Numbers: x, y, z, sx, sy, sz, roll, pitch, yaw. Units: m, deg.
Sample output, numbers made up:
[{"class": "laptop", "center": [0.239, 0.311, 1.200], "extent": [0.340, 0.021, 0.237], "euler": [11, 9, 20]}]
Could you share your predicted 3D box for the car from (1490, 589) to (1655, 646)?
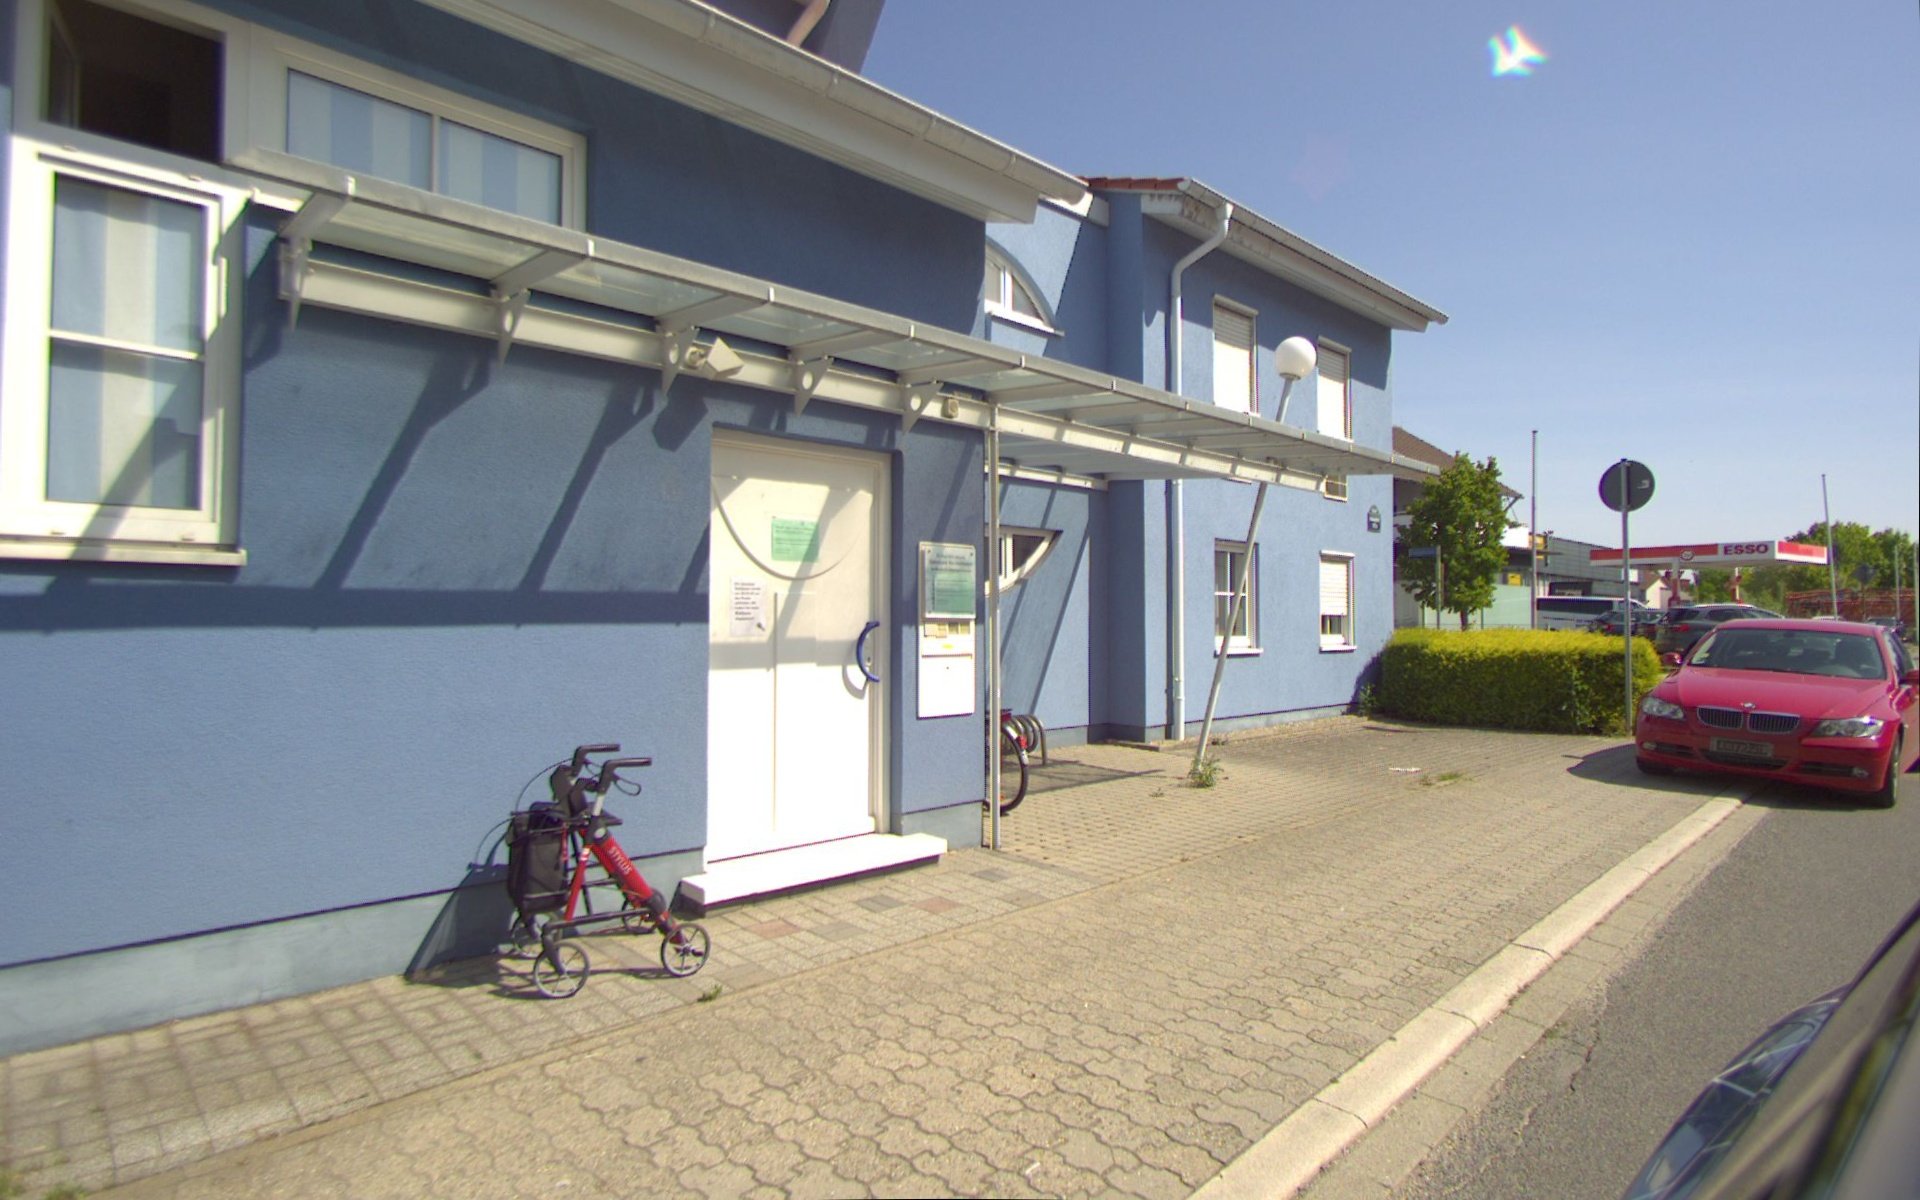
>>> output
[{"class": "car", "center": [23.213, 0.619, 38.583], "extent": [5.242, 2.039, 2.207], "euler": [0, -1, 31]}]

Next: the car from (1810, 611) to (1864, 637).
[{"class": "car", "center": [55.923, 1.510, 64.520], "extent": [4.261, 1.612, 2.002], "euler": [1, -1, -40]}]

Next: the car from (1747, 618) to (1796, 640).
[{"class": "car", "center": [54.246, 1.911, 67.631], "extent": [3.929, 1.404, 1.844], "euler": [1, -1, -40]}]

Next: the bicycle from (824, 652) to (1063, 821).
[{"class": "bicycle", "center": [-0.182, 0.930, 7.506], "extent": [0.645, 0.993, 1.957], "euler": [1, -1, -42]}]

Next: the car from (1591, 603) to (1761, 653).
[{"class": "car", "center": [24.019, 0.920, 34.160], "extent": [4.263, 1.570, 1.971], "euler": [1, -1, 20]}]

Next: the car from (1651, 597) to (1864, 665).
[{"class": "car", "center": [21.176, 0.788, 27.082], "extent": [4.061, 1.674, 1.819], "euler": [1, -1, 20]}]

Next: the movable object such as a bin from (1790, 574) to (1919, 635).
[{"class": "movable object such as a bin", "center": [65.940, 0.338, 67.632], "extent": [2.720, 4.070, 16.105], "euler": [1, -1, -34]}]

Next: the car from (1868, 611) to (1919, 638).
[{"class": "car", "center": [57.604, 1.469, 62.419], "extent": [4.033, 1.612, 1.844], "euler": [1, -1, -40]}]

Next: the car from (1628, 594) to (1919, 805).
[{"class": "car", "center": [7.923, 0.721, 9.420], "extent": [4.278, 1.513, 1.736], "euler": [0, 1, -41]}]

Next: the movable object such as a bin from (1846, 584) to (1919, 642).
[{"class": "movable object such as a bin", "center": [72.569, 0.965, 72.560], "extent": [2.808, 4.219, 13.298], "euler": [1, -1, -34]}]

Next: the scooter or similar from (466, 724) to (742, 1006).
[{"class": "scooter or similar", "center": [-1.393, 0.959, 3.958], "extent": [0.813, 0.825, 0.729], "euler": [1, -1, -40]}]
